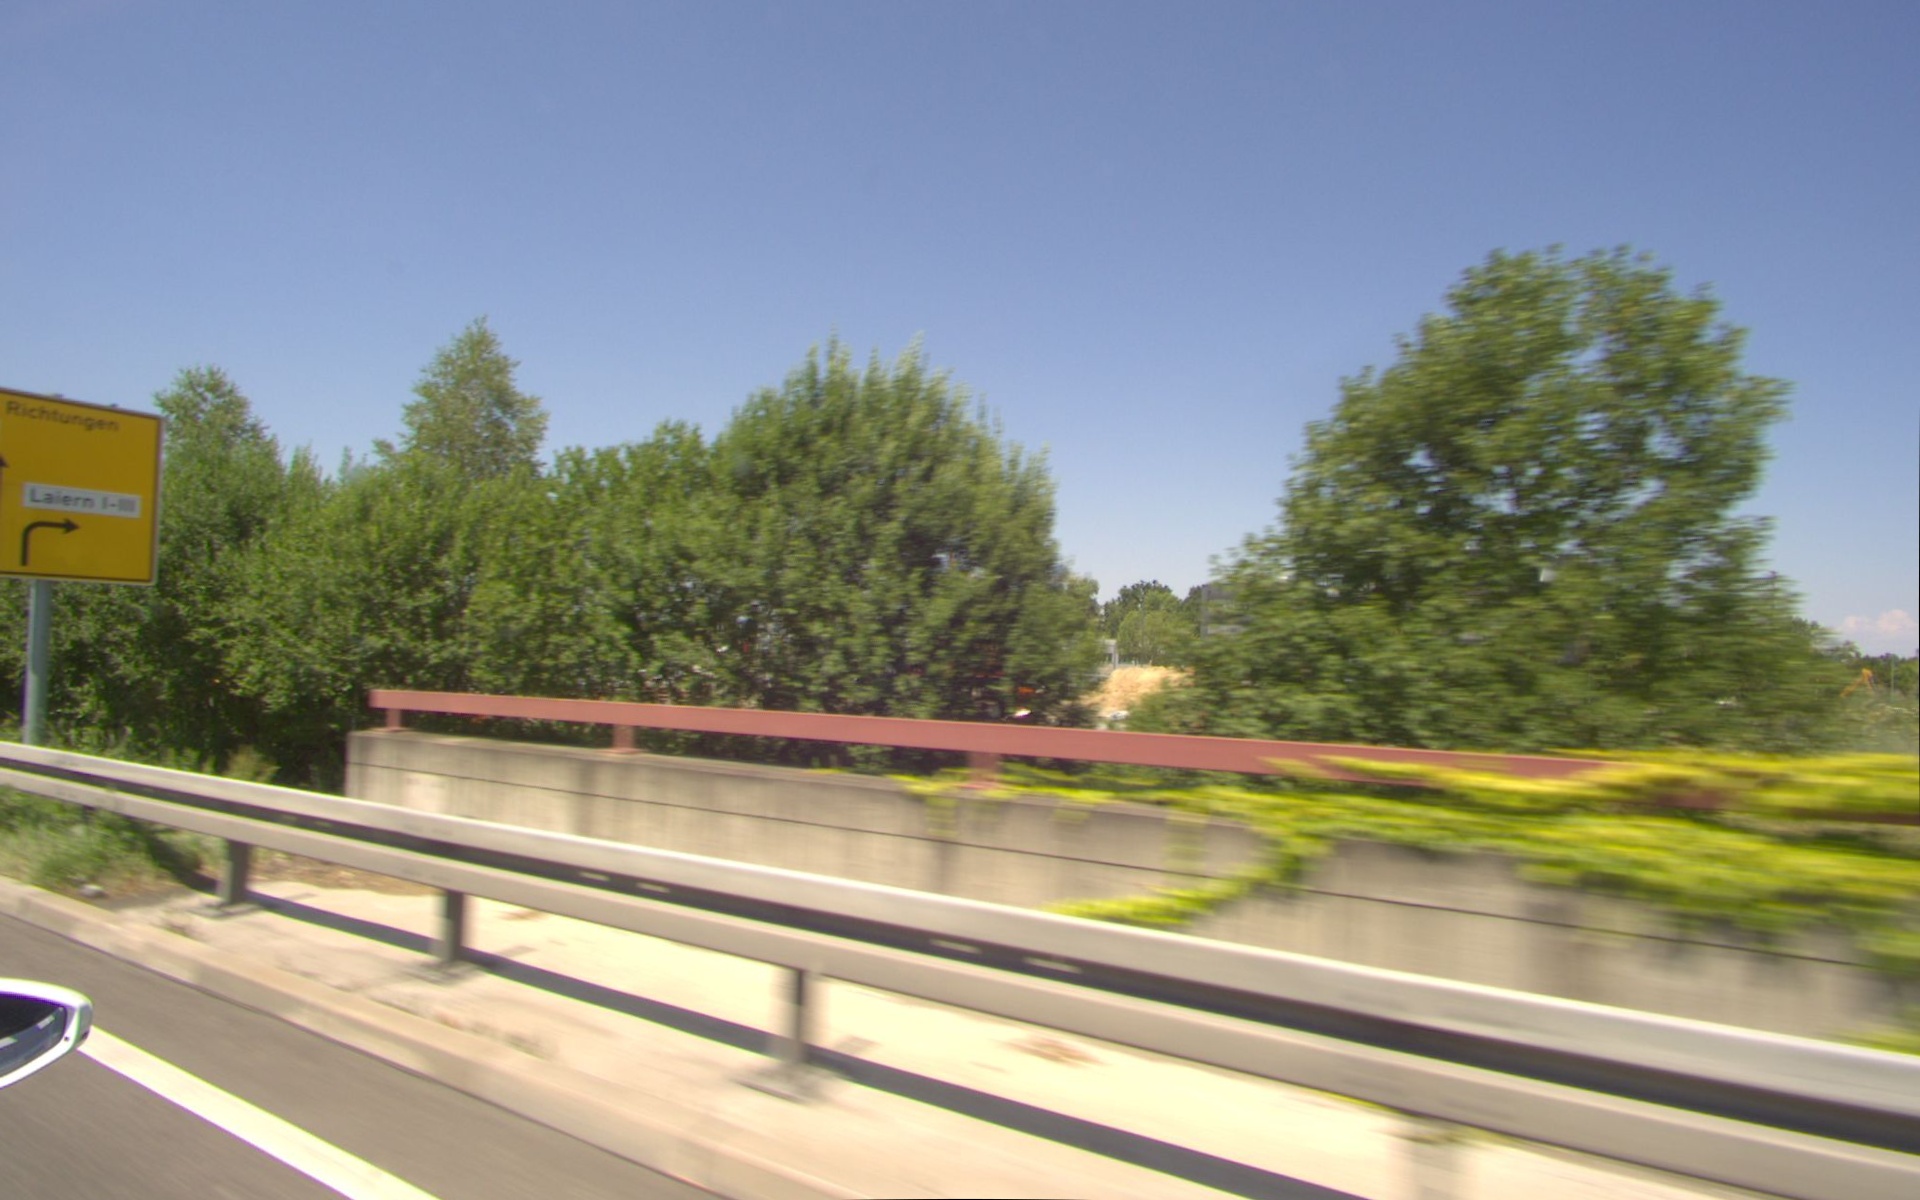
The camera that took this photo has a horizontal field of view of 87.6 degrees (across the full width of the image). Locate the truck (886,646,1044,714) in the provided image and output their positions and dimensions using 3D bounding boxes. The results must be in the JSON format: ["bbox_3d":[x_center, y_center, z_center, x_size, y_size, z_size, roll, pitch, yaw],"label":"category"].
[{"bbox_3d":[0.303,4.978,62.648,9.258,3.730,3.126,4,-3,-17],"label":"truck"}]
